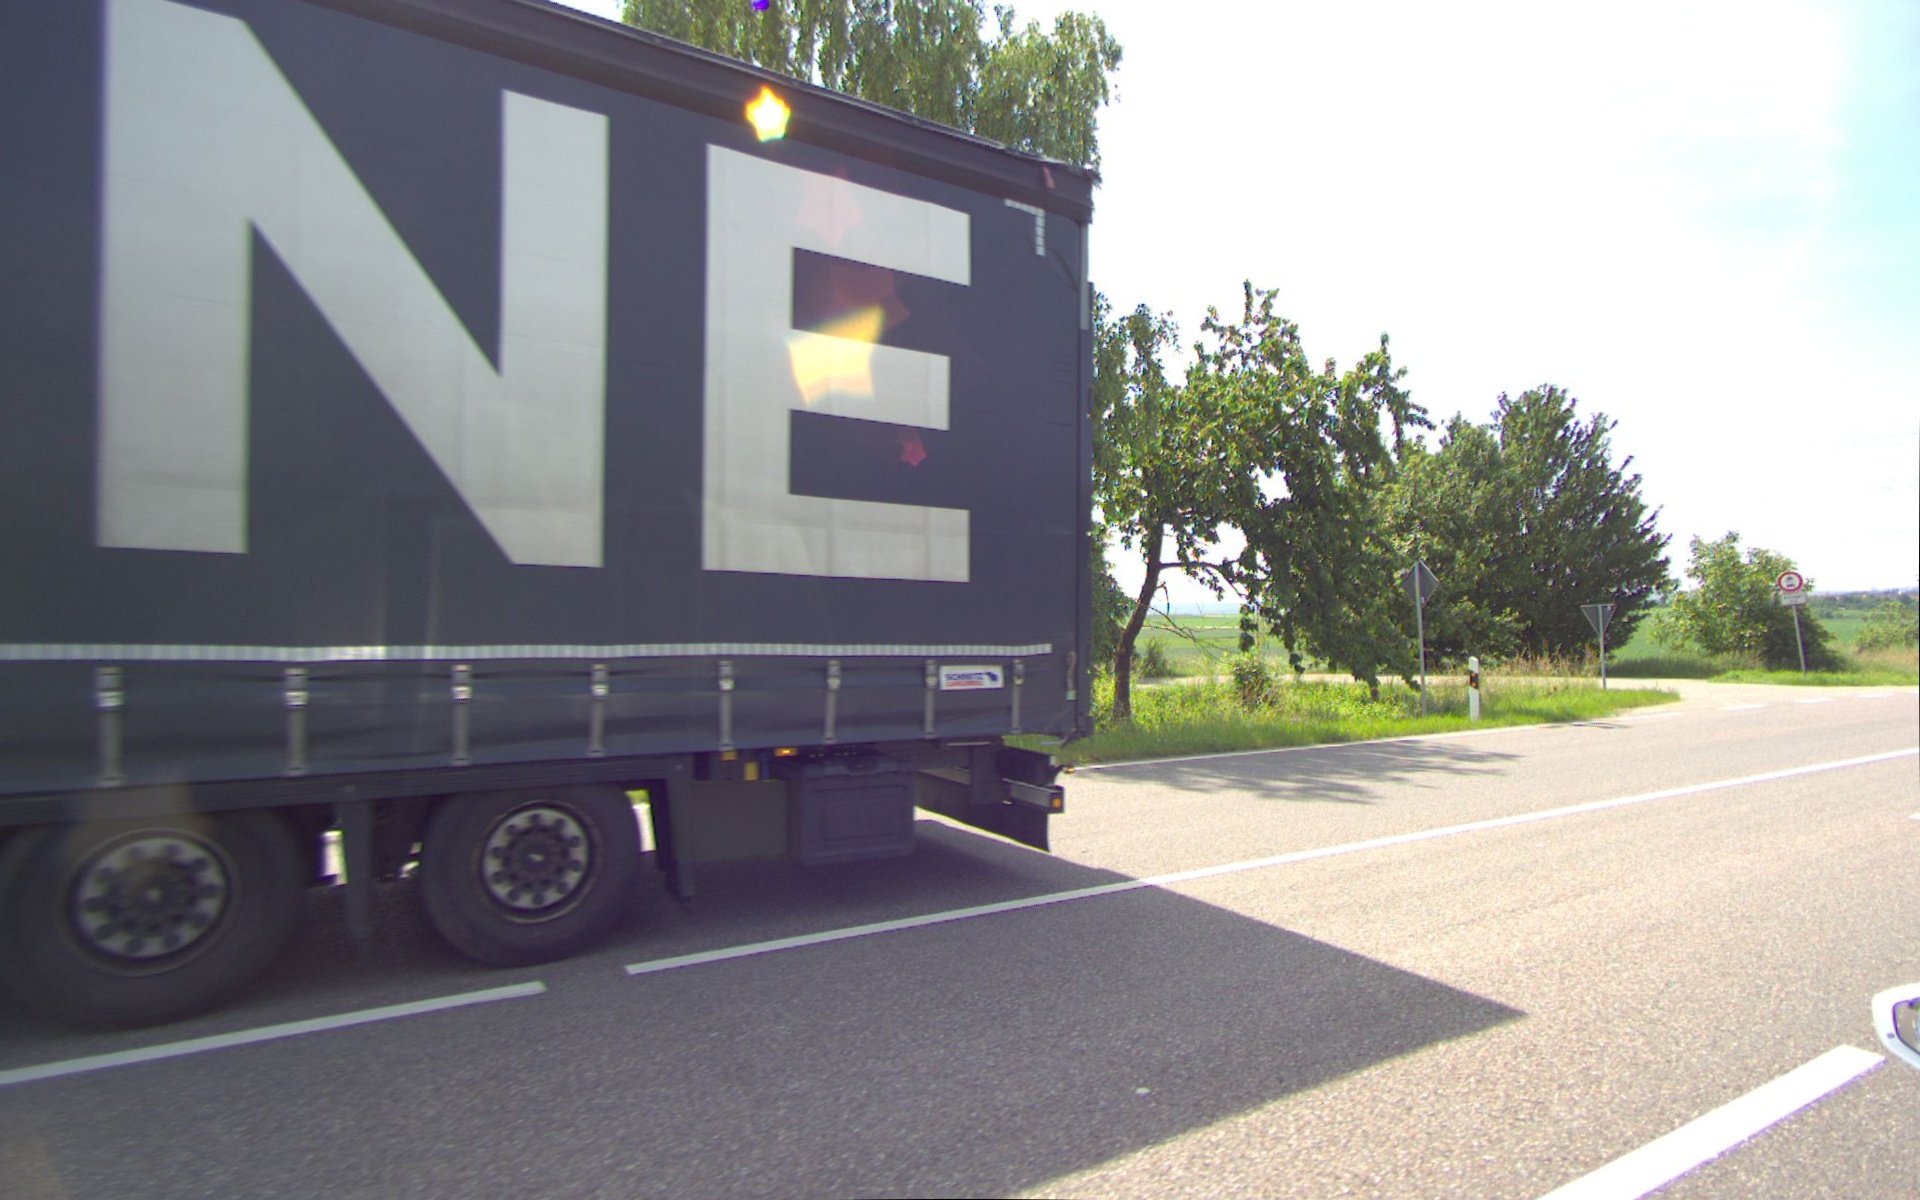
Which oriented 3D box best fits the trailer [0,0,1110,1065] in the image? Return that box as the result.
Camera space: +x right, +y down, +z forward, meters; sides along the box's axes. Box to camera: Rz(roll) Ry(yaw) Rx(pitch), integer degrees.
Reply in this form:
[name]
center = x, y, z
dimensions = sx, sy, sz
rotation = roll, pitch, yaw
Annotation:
[trailer]
center = -5.594, -0.605, 3.262
dimensions = 13.584, 4.197, 2.580
rotation = 1, -1, -31
